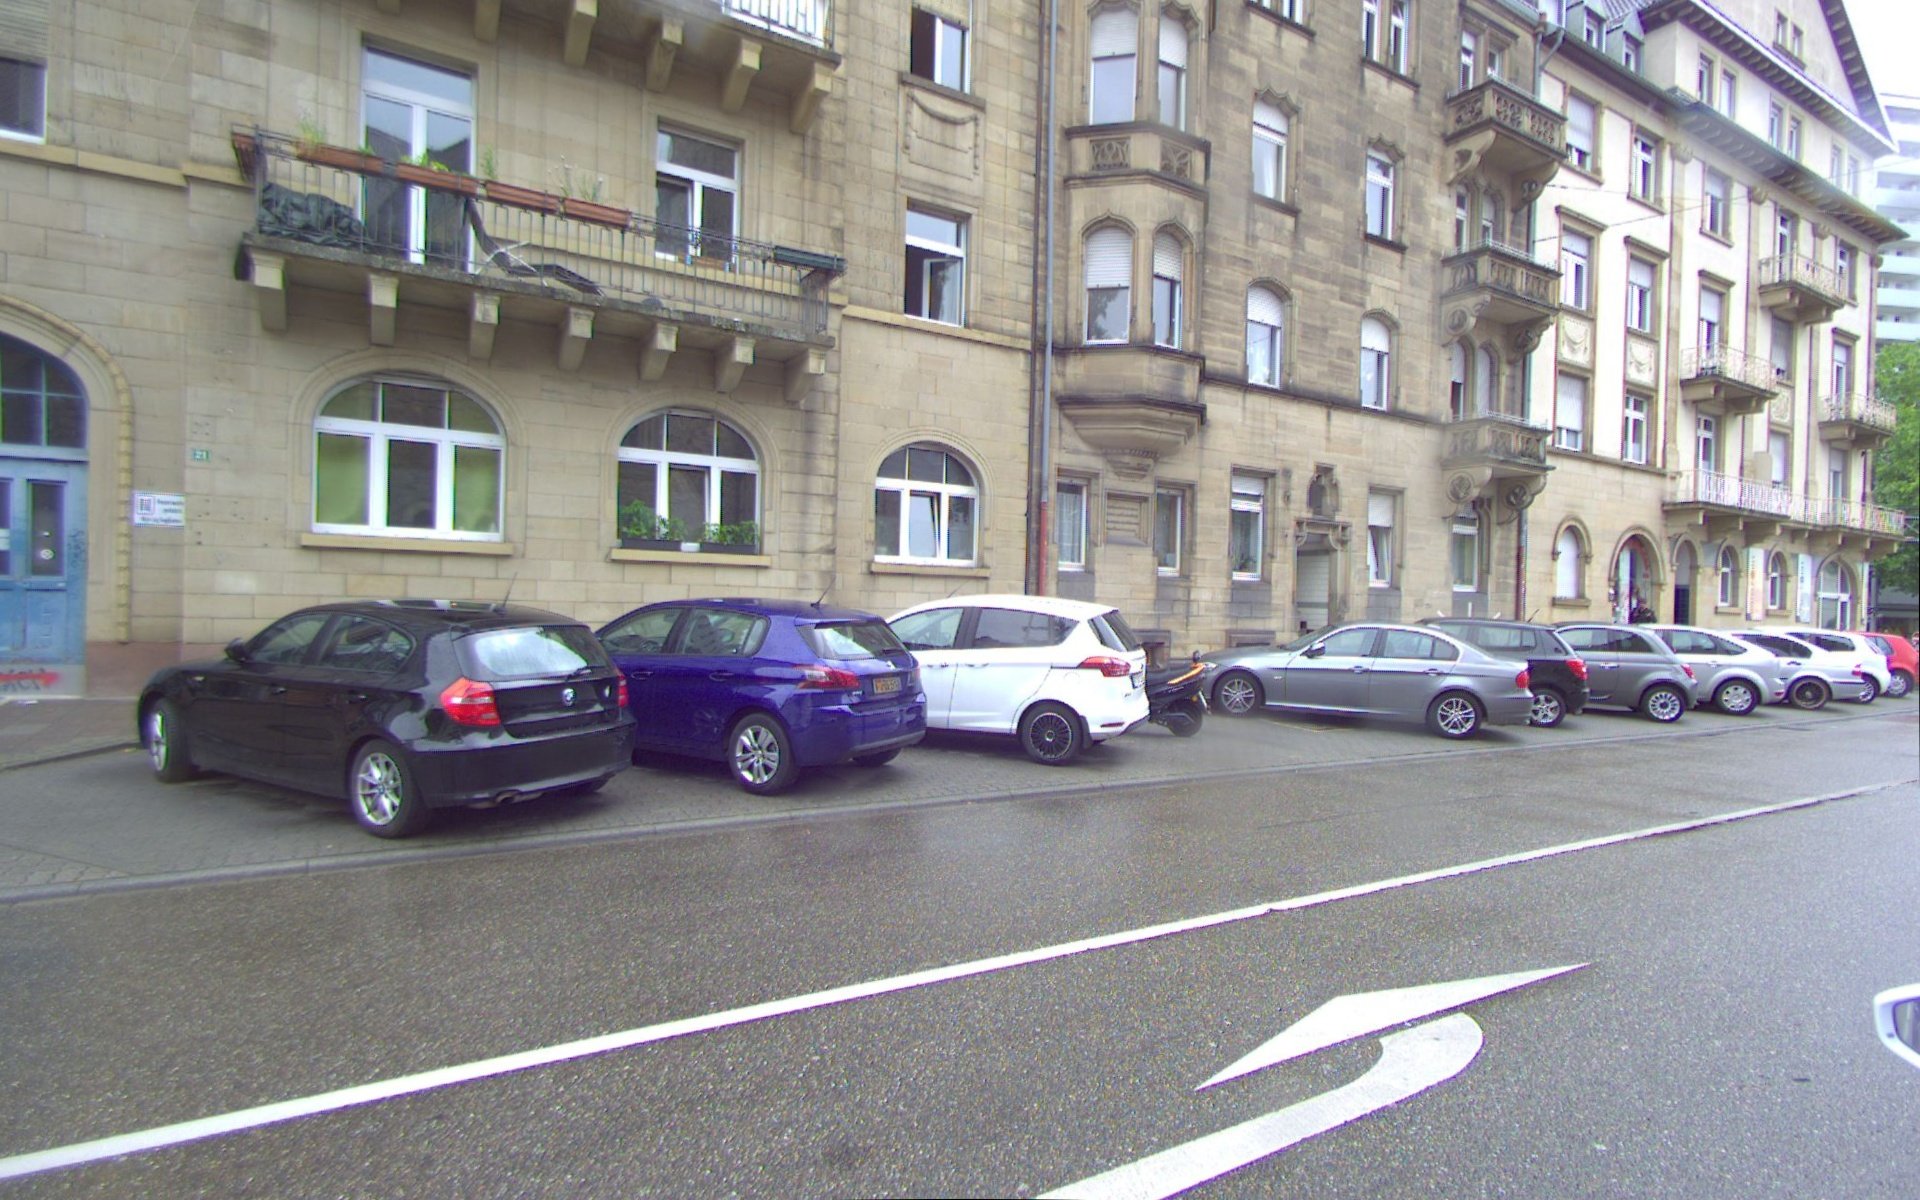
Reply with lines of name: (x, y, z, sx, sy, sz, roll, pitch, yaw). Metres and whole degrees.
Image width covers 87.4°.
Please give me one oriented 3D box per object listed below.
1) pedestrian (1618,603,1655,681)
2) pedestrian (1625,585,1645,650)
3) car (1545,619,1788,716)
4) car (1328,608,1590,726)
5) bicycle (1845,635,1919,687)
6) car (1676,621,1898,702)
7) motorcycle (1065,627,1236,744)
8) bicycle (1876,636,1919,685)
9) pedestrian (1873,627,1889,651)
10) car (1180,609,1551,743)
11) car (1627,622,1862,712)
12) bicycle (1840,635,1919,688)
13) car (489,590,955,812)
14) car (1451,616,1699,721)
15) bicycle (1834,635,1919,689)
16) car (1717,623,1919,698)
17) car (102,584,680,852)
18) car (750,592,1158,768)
pedestrian: (17.887, 1.108, 26.562, 0.647, 2.040, 0.565, 1, 0, -30)
pedestrian: (19.175, 0.504, 28.543, 0.343, 1.846, 0.364, 2, -1, -32)
car: (12.947, 1.191, 18.654, 3.337, 1.578, 1.705, 1, 0, 21)
car: (7.654, 0.979, 15.744, 3.484, 1.619, 1.605, 1, 0, 21)
bicycle: (24.454, 1.585, 26.356, 0.492, 1.283, 1.801, 1, -1, -31)
car: (17.933, 1.285, 21.969, 3.337, 1.578, 1.705, 1, 0, 21)
motorcycle: (2.245, 0.974, 11.864, 1.837, 1.177, 0.633, 3, 1, 23)
bicycle: (26.113, 1.659, 27.249, 0.601, 1.283, 1.754, 1, -1, -31)
pedestrian: (59.260, 2.516, 64.608, 0.631, 1.550, 0.443, 1, 0, -4)
car: (5.395, 0.958, 13.870, 4.457, 1.565, 1.689, 1, 0, 17)
car: (15.655, 1.290, 20.254, 3.337, 1.578, 1.705, 1, 0, 21)
bicycle: (23.938, 1.560, 25.897, 0.492, 1.283, 1.801, 1, -1, -31)
car: (-2.212, 0.745, 9.090, 3.972, 1.594, 1.795, 1, -1, 31)
car: (10.348, 1.102, 17.174, 3.337, 1.578, 1.652, 1, 0, 21)
bicycle: (23.482, 1.556, 25.604, 0.516, 1.283, 1.754, 1, -1, -31)
car: (20.202, 1.377, 23.718, 3.337, 1.578, 1.705, 1, 0, 21)
car: (-4.252, 0.687, 7.476, 3.968, 1.532, 1.797, 1, -1, 26)
car: (-0.027, 0.747, 10.735, 3.964, 1.576, 1.799, 1, -1, 20)
